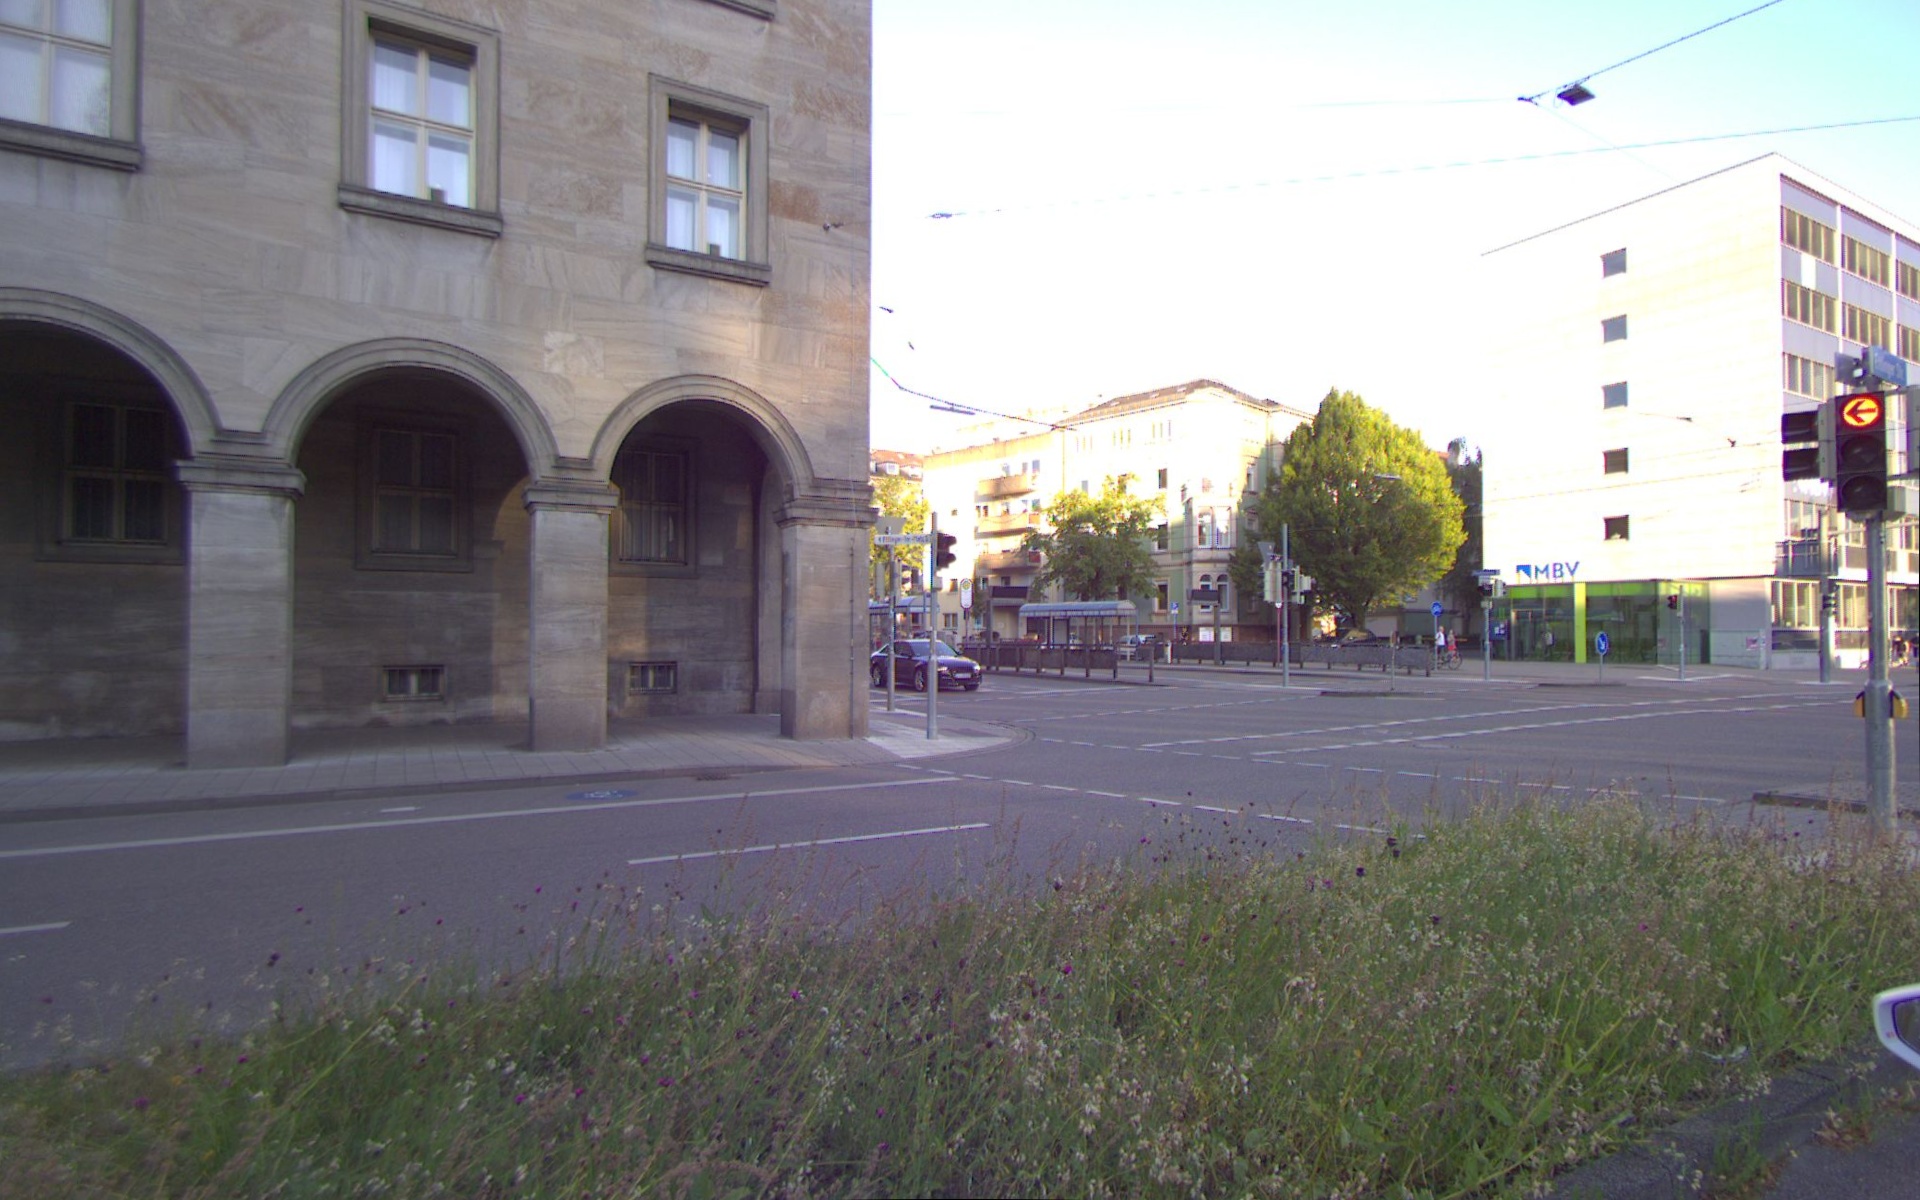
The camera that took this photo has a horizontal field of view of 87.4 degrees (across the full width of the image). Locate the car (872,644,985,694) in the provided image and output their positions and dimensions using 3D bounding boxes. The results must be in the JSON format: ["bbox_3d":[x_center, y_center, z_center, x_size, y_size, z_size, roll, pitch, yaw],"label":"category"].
[{"bbox_3d":[-1.010,1.987,29.765,1.791,1.344,4.120,1,-2,-27],"label":"car"}]

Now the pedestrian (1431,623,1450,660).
[{"bbox_3d":[23.602,2.039,49.317,0.718,1.813,0.634,2,-2,-44],"label":"pedestrian"}]

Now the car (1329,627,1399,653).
[{"bbox_3d":[22.117,2.194,55.007,3.553,1.390,1.826,1,-2,-32],"label":"car"}]

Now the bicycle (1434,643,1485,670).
[{"bbox_3d":[21.636,2.442,43.520,2.183,1.127,0.834,1,-2,-26],"label":"bicycle"}]

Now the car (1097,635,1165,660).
[{"bbox_3d":[10.055,2.777,59.164,3.545,1.390,1.830,-2,-3,45],"label":"car"}]

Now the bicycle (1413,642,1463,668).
[{"bbox_3d":[21.140,2.417,44.440,2.183,1.127,0.834,1,-2,-26],"label":"bicycle"}]

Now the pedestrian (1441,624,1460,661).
[{"bbox_3d":[24.278,2.110,49.693,0.718,1.813,0.634,2,-2,-43],"label":"pedestrian"}]

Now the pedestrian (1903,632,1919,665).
[{"bbox_3d":[49.171,2.490,51.862,0.494,1.701,0.549,1,-2,-30],"label":"pedestrian"}]

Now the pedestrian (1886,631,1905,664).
[{"bbox_3d":[48.347,2.465,51.914,0.494,1.701,0.549,1,-2,-30],"label":"pedestrian"}]
